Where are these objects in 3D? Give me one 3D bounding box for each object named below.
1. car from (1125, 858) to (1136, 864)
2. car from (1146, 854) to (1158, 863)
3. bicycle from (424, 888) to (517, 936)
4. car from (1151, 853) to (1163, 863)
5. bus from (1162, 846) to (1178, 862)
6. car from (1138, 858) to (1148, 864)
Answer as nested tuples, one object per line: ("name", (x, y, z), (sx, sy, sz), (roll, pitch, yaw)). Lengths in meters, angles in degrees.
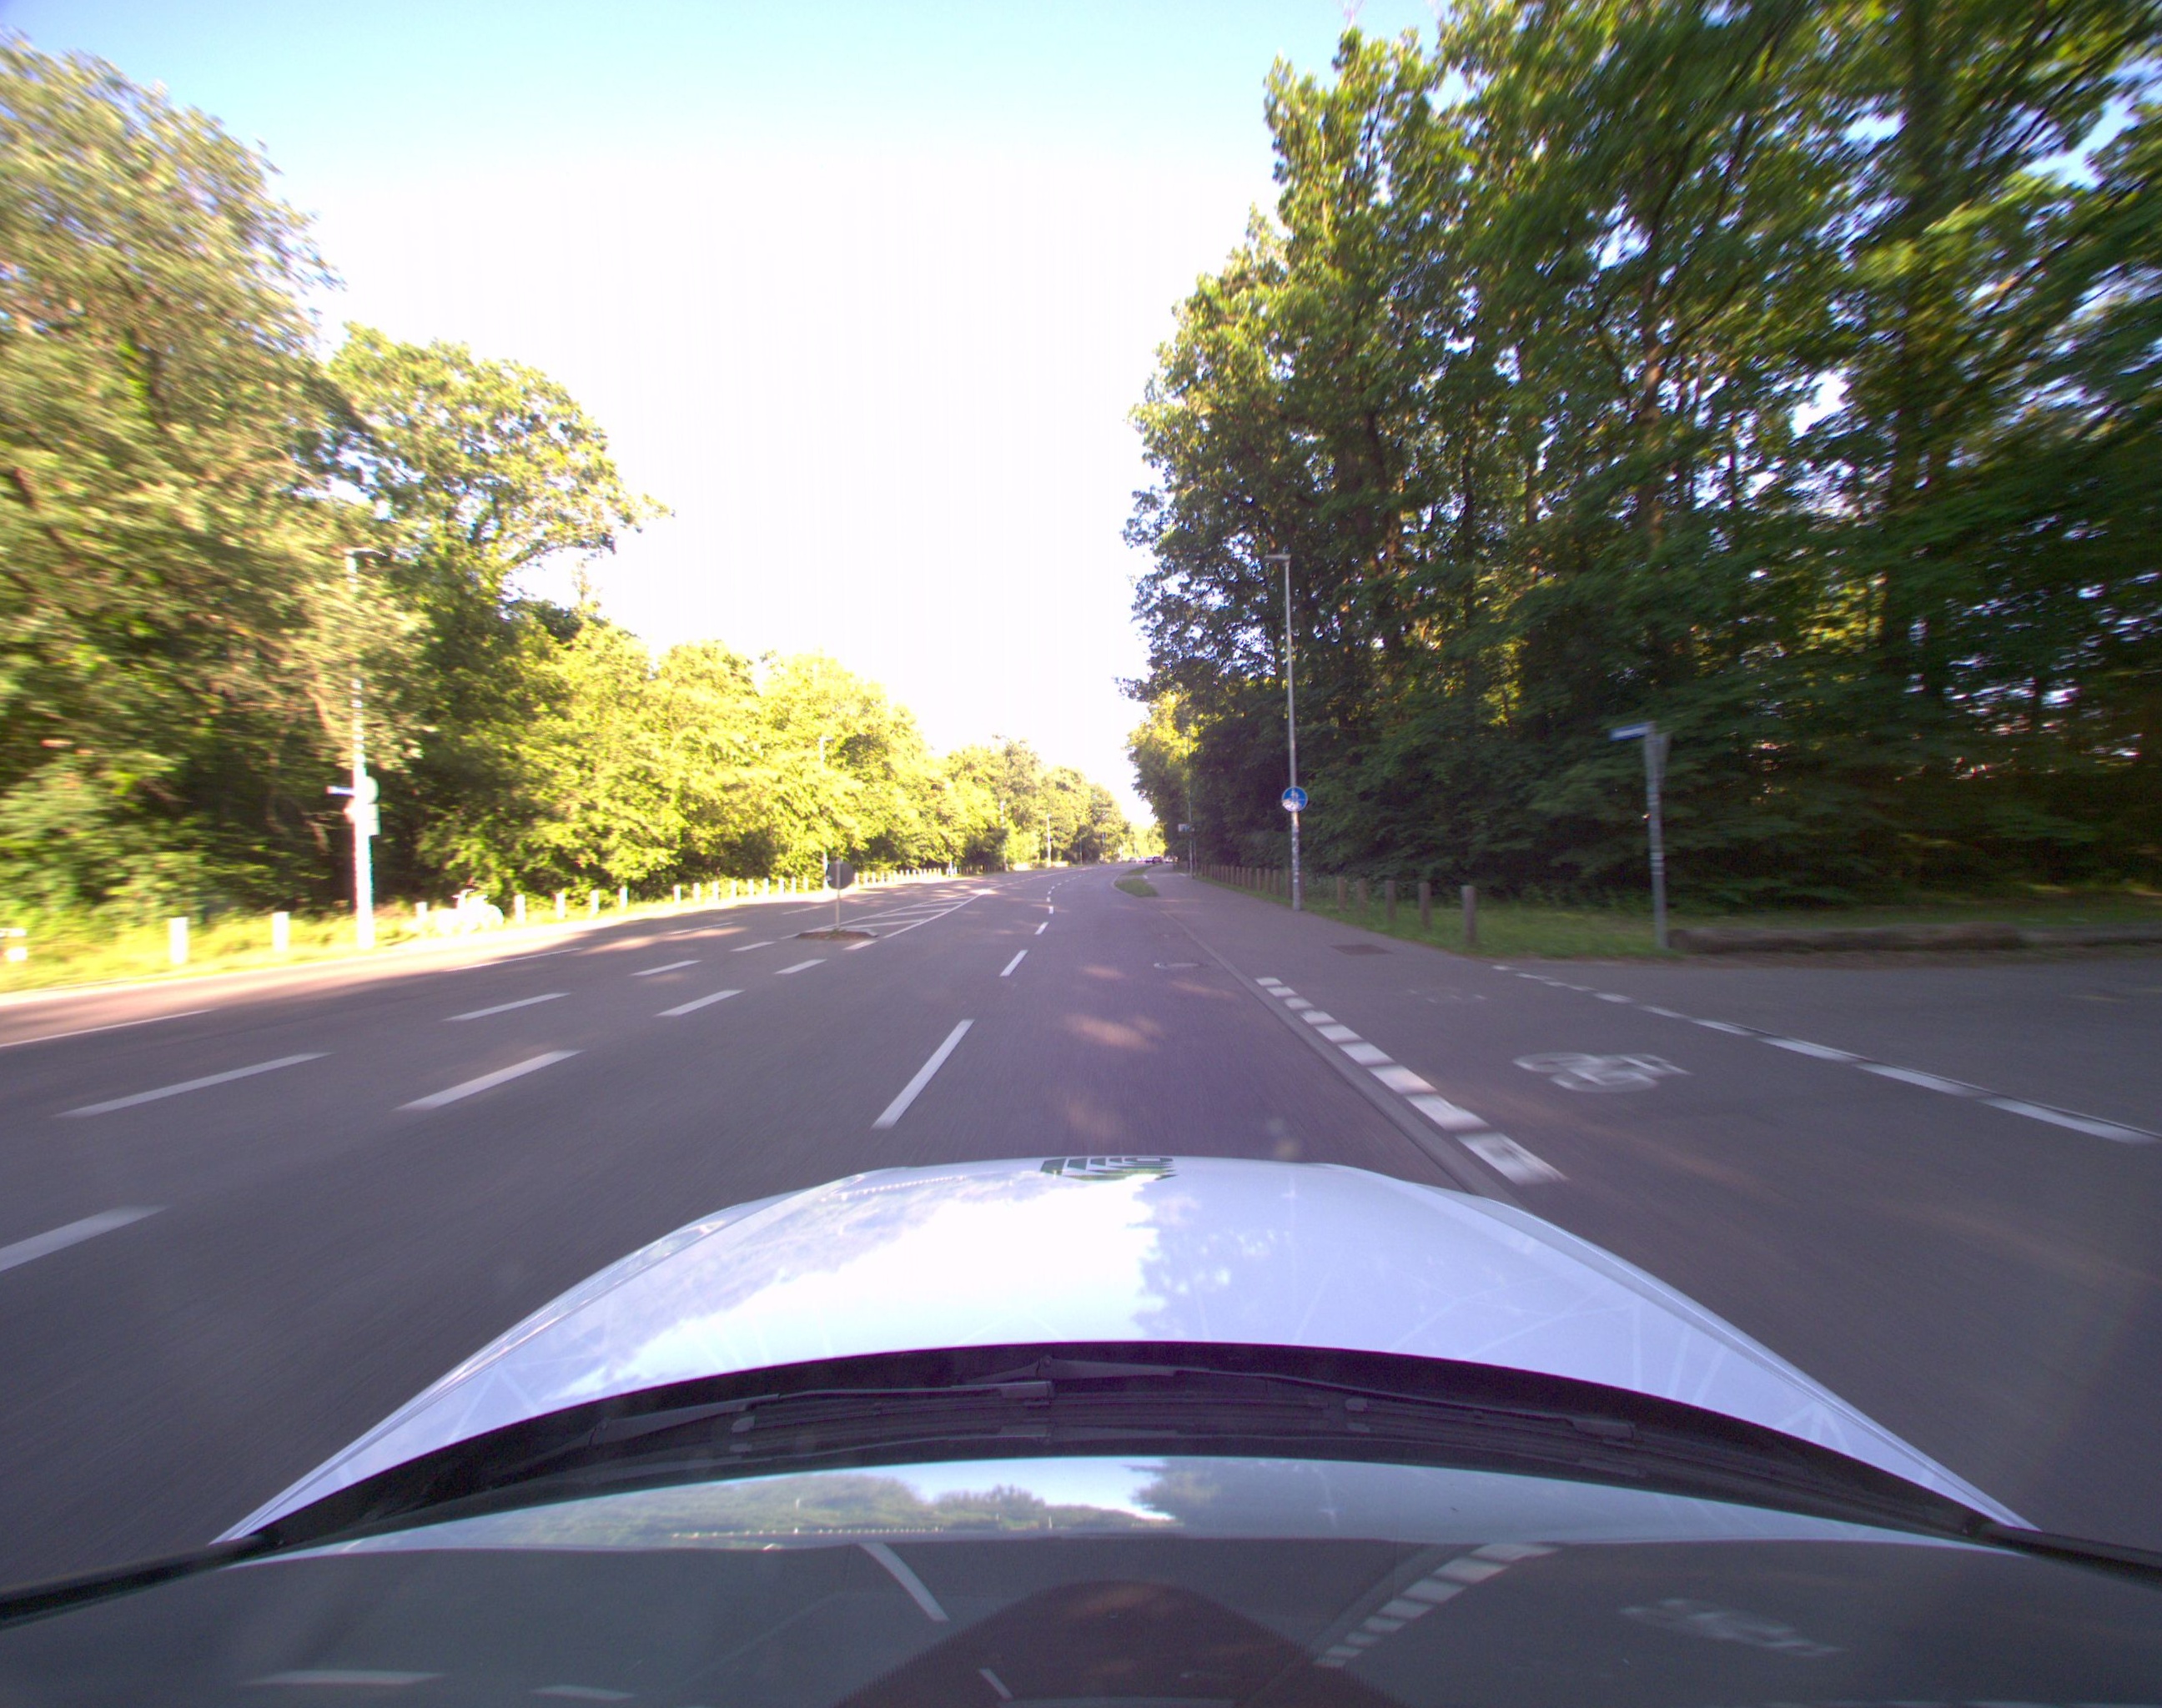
("car", (11.895, 1.703, 194.712), (1.767, 1.408, 4.181), (-1, 0, 13))
("car", (15.279, 0.947, 175.303), (1.867, 1.709, 4.015), (-2, 0, 14))
("bicycle", (-15.908, 1.486, 21.305), (0.398, 1.132, 2.226), (0, -1, 11))
("car", (15.434, 0.819, 165.649), (1.867, 1.765, 4.015), (-2, 0, 14))
("bus", (20.081, -0.023, 183.071), (2.586, 3.368, 8.005), (-1, 0, 14))
("car", (16.296, 1.821, 214.414), (1.766, 1.464, 4.293), (0, 0, 17))
